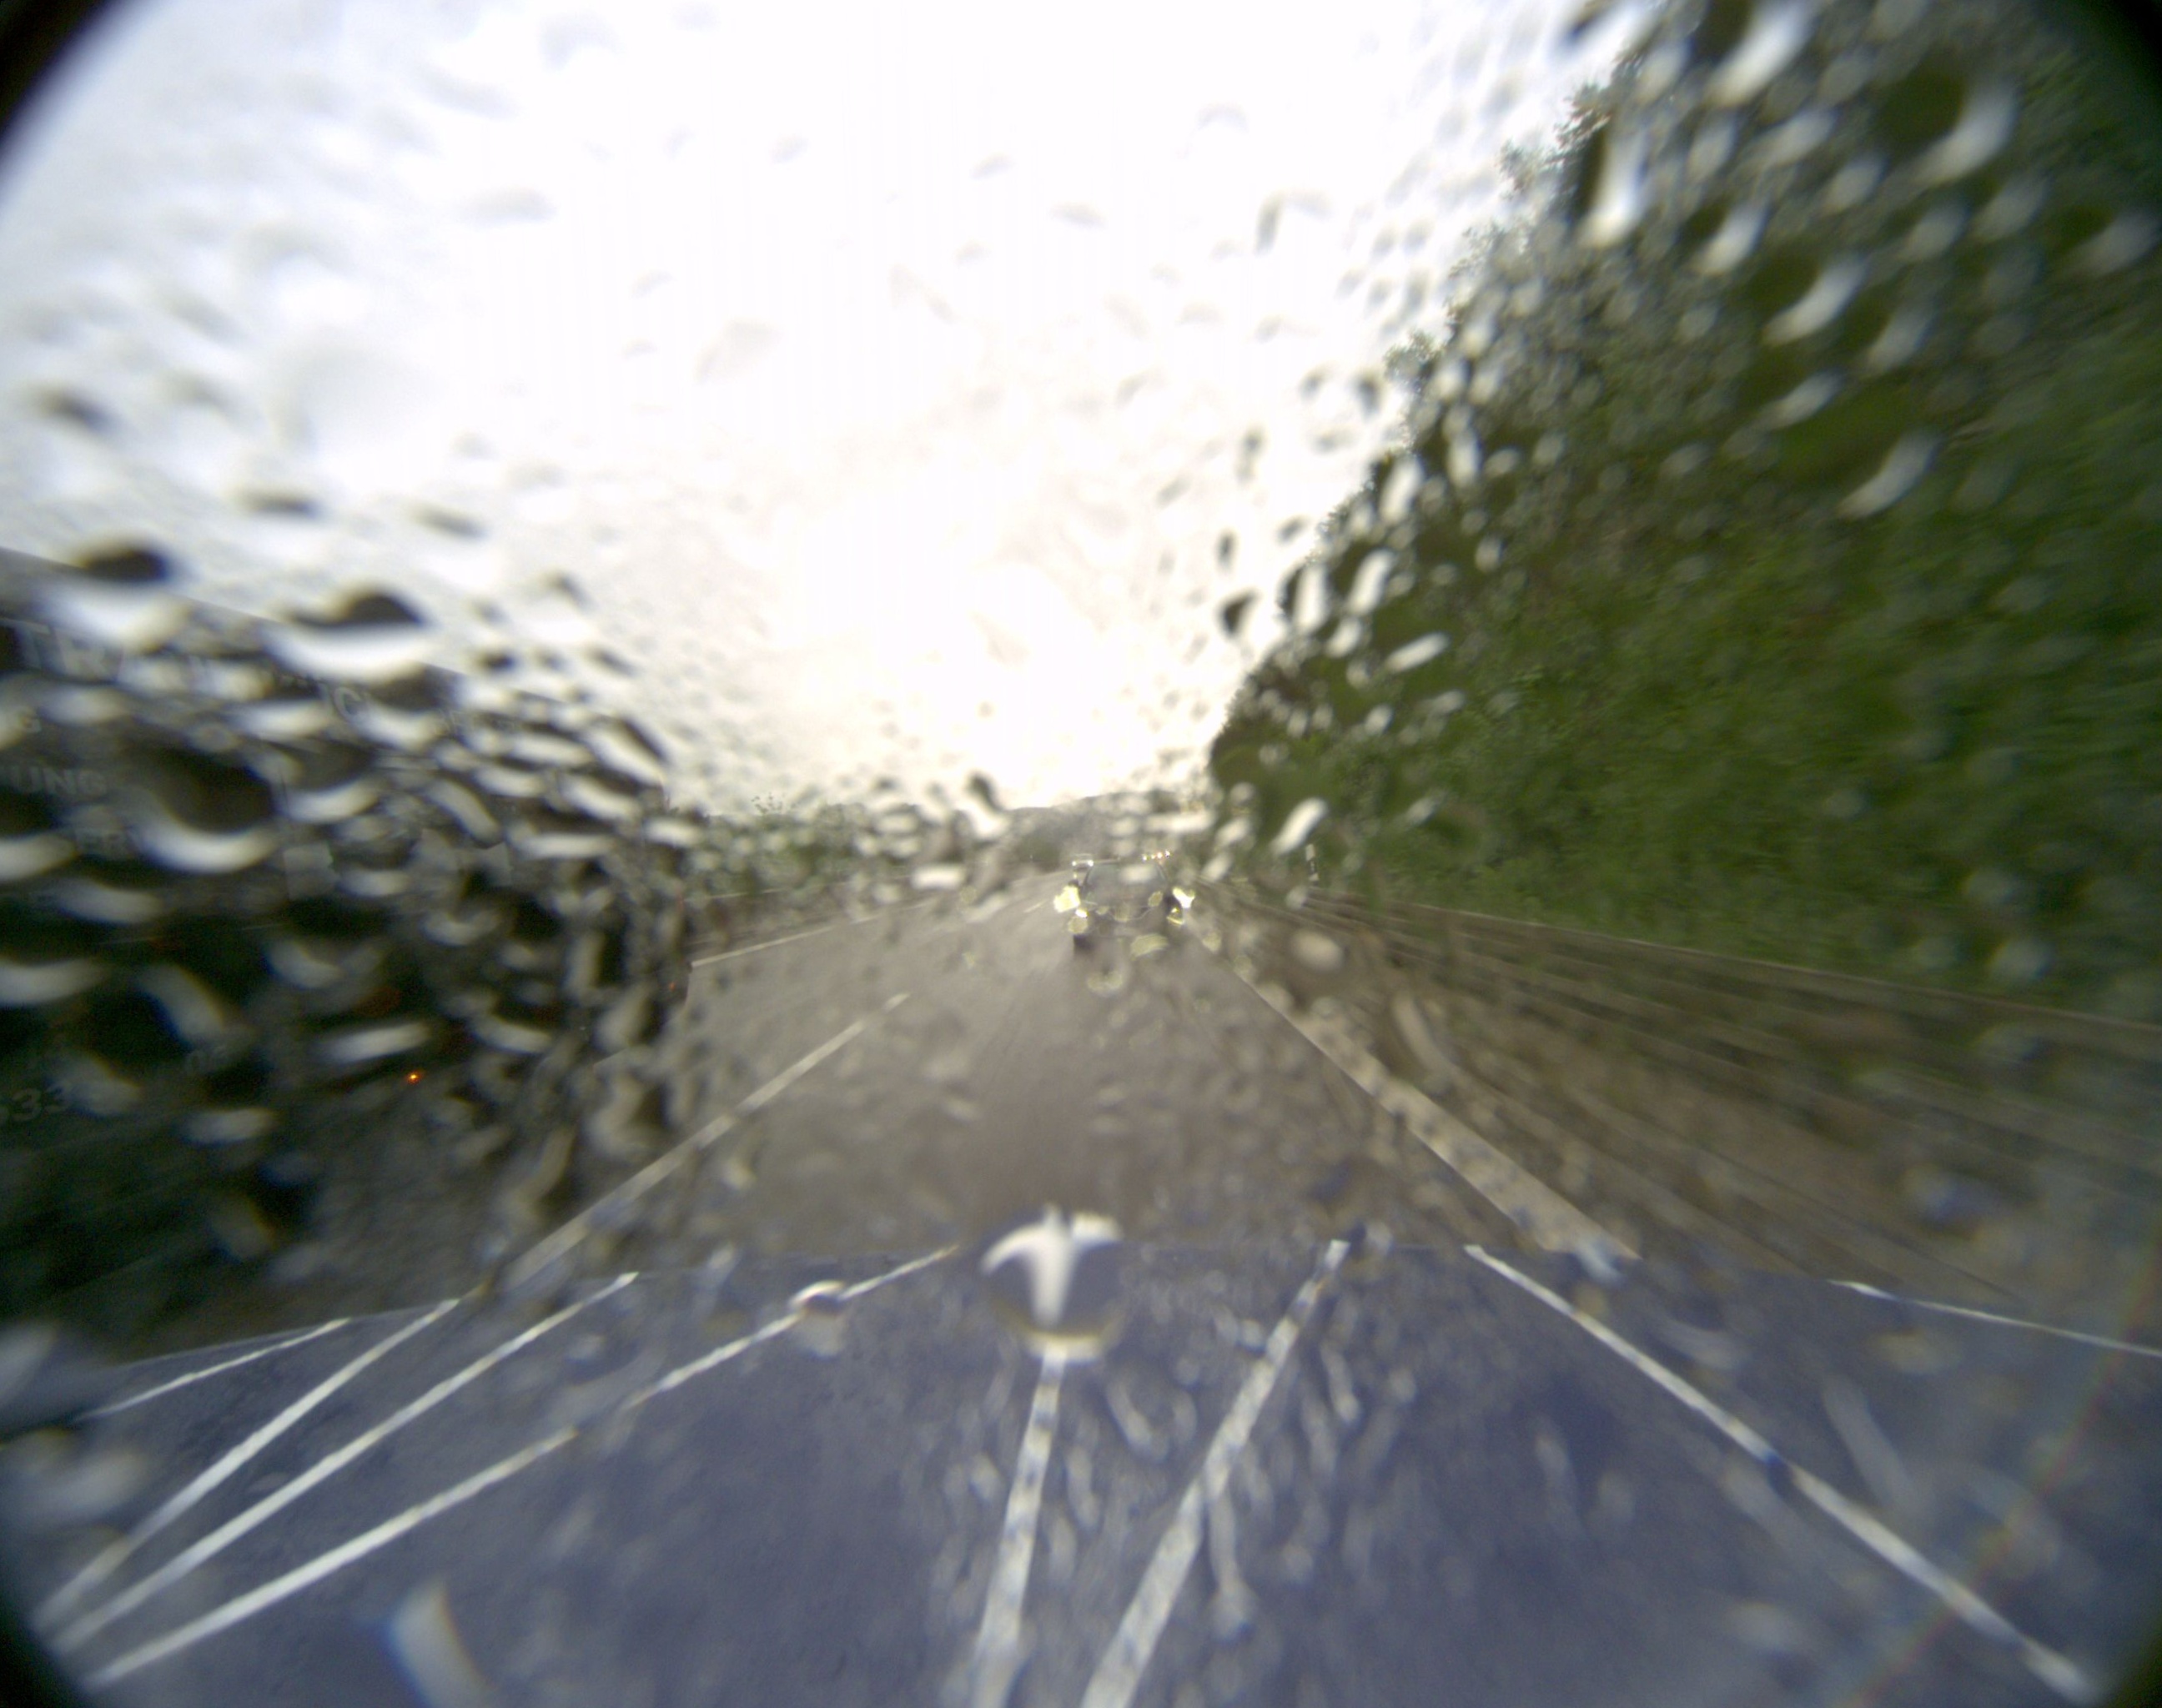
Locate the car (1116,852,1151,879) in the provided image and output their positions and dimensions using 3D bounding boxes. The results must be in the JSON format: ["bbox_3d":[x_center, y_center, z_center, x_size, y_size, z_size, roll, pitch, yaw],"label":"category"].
[{"bbox_3d":[2.960,0.589,42.013,1.712,1.316,3.946,-3,0,7],"label":"car"}]

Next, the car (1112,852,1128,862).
[{"bbox_3d":[5.720,0.452,112.115,1.989,1.407,4.566,-3,0,7],"label":"car"}]

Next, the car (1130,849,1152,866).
[{"bbox_3d":[5.755,0.317,72.339,1.905,1.545,4.566,-1,0,6],"label":"car"}]

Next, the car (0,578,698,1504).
[{"bbox_3d":[-3.905,0.516,2.284,1.998,2.480,6.704,-2,0,0],"label":"car"}]

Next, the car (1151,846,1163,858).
[{"bbox_3d":[12.132,-0.281,121.377,1.591,1.895,3.753,-1,0,1],"label":"car"}]

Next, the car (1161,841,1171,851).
[{"bbox_3d":[17.681,-1.785,159.010,1.908,2.002,4.001,-2,1,5],"label":"car"}]

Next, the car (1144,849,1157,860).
[{"bbox_3d":[9.762,0.029,107.477,1.658,1.535,3.664,-1,0,3],"label":"car"}]

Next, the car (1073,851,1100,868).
[{"bbox_3d":[0.527,0.501,67.615,1.990,1.407,4.566,-1,0,6],"label":"car"}]

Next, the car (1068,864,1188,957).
[{"bbox_3d":[0.781,0.904,13.815,1.839,1.316,4.135,-1,1,1],"label":"car"}]
